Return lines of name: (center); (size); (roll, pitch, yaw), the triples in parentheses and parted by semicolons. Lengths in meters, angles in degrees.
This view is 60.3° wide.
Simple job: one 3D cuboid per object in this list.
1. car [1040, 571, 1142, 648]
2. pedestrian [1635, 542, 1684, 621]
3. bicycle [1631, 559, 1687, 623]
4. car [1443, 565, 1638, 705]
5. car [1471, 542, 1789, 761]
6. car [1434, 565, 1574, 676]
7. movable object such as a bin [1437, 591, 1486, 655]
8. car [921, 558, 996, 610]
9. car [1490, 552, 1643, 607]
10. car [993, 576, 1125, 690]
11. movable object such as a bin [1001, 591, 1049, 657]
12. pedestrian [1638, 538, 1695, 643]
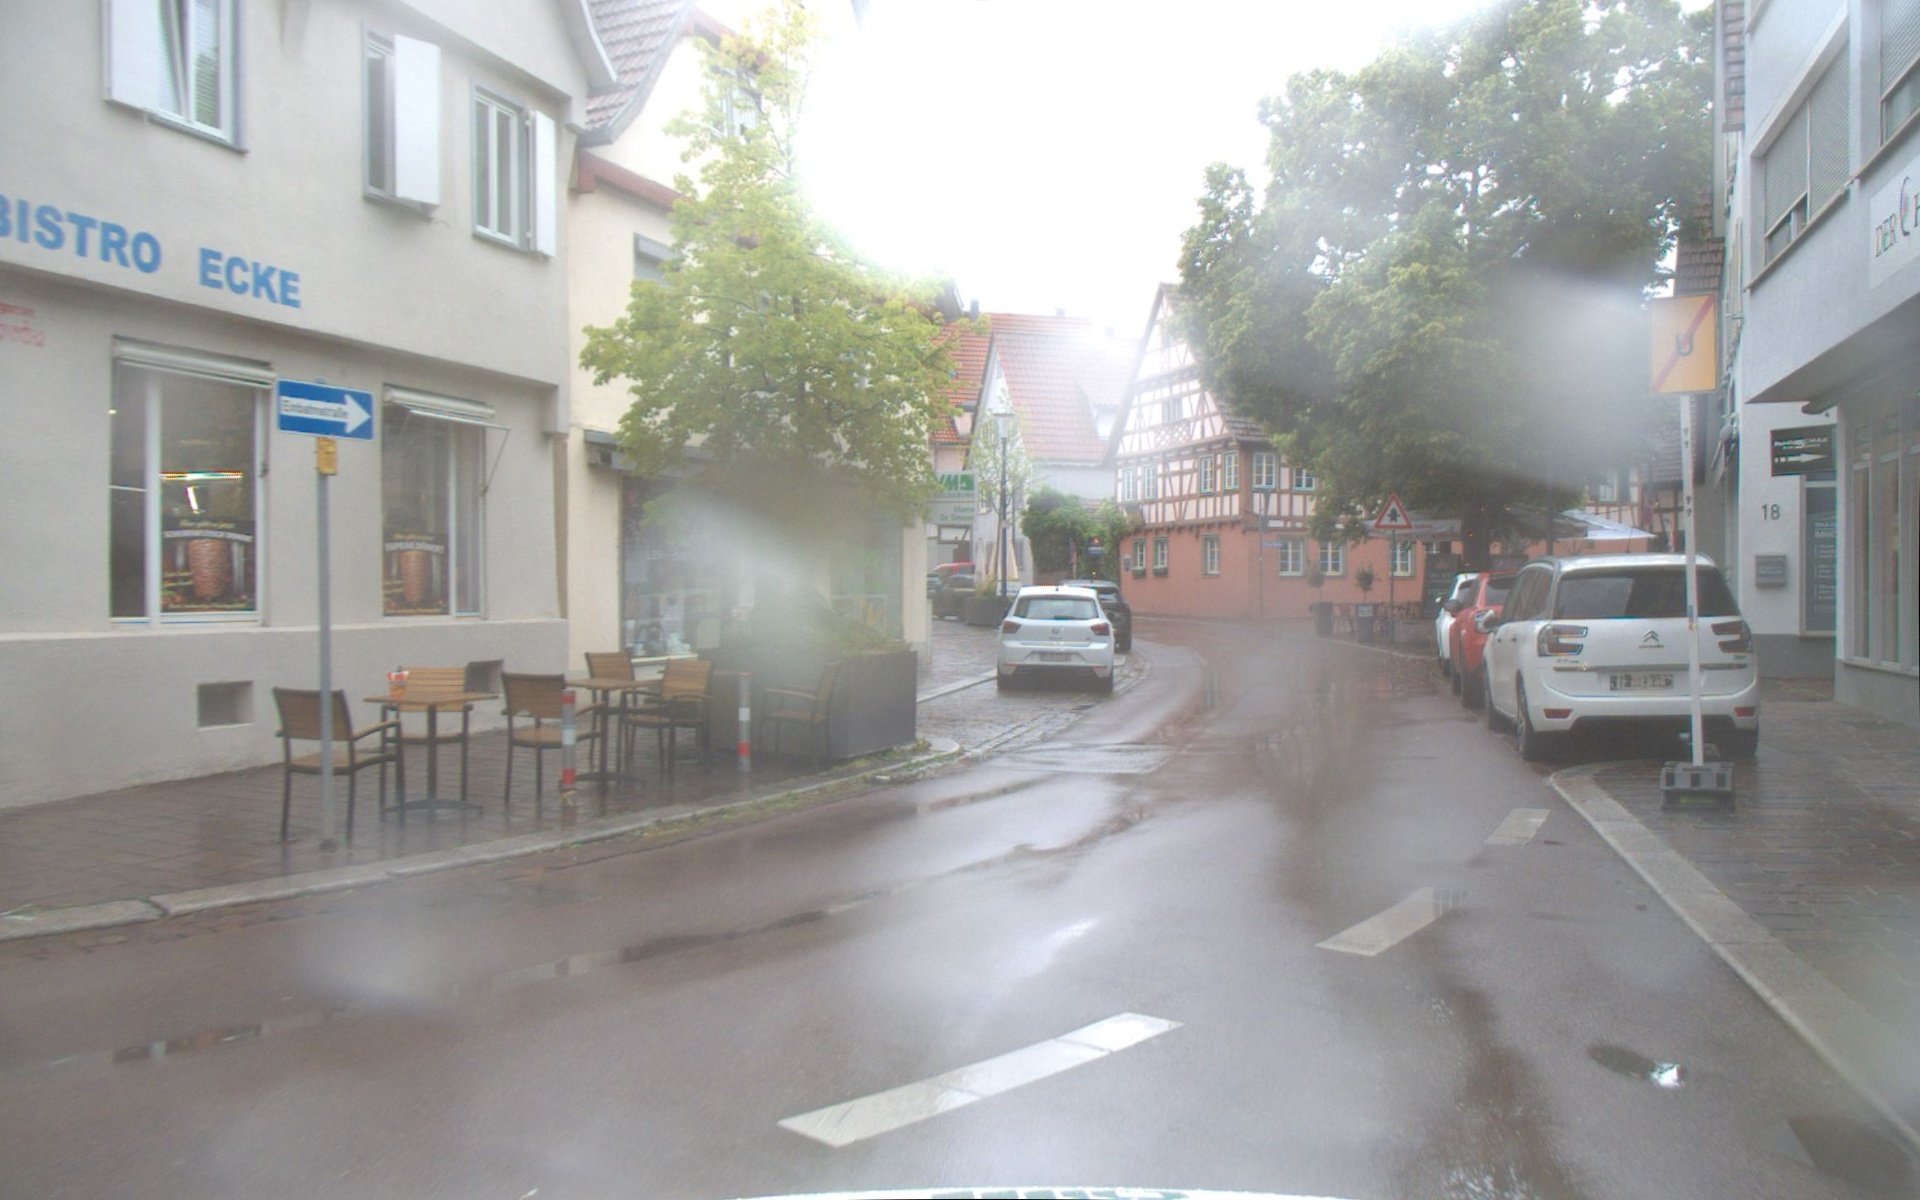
car: (2.794, 0.224, 36.076); (1.837, 1.567, 4.399); (1, -1, 0)
pedestrian: (15.690, -0.405, 37.116); (0.893, 1.728, 0.860); (-2, -1, 29)
bicycle: (15.710, -0.213, 37.131); (0.907, 1.374, 2.212); (-2, 0, 29)
car: (6.878, 0.403, 19.938); (1.749, 1.494, 3.952); (1, -1, 13)
car: (5.716, 0.430, 14.670); (1.749, 1.627, 4.443); (-1, -1, 11)
car: (8.368, 0.276, 25.718); (1.749, 1.582, 3.953); (-1, 1, 14)
movable object such as a bin: (8.890, 0.410, 29.340); (0.710, 1.102, 0.605); (1, -1, 4)
car: (-0.113, -0.647, 64.464); (1.863, 1.843, 3.983); (2, 1, -16)
car: (19.868, -0.685, 54.210); (4.533, 1.661, 1.989); (-1, 3, -20)
car: (1.534, 0.423, 24.828); (1.810, 1.477, 4.076); (1, 2, 5)
movable object such as a bin: (1.175, 0.434, 29.687); (0.685, 1.141, 0.719); (3, 0, 12)
pedestrian: (12.012, -0.150, 28.117); (0.867, 1.743, 0.889); (0, -1, 25)
